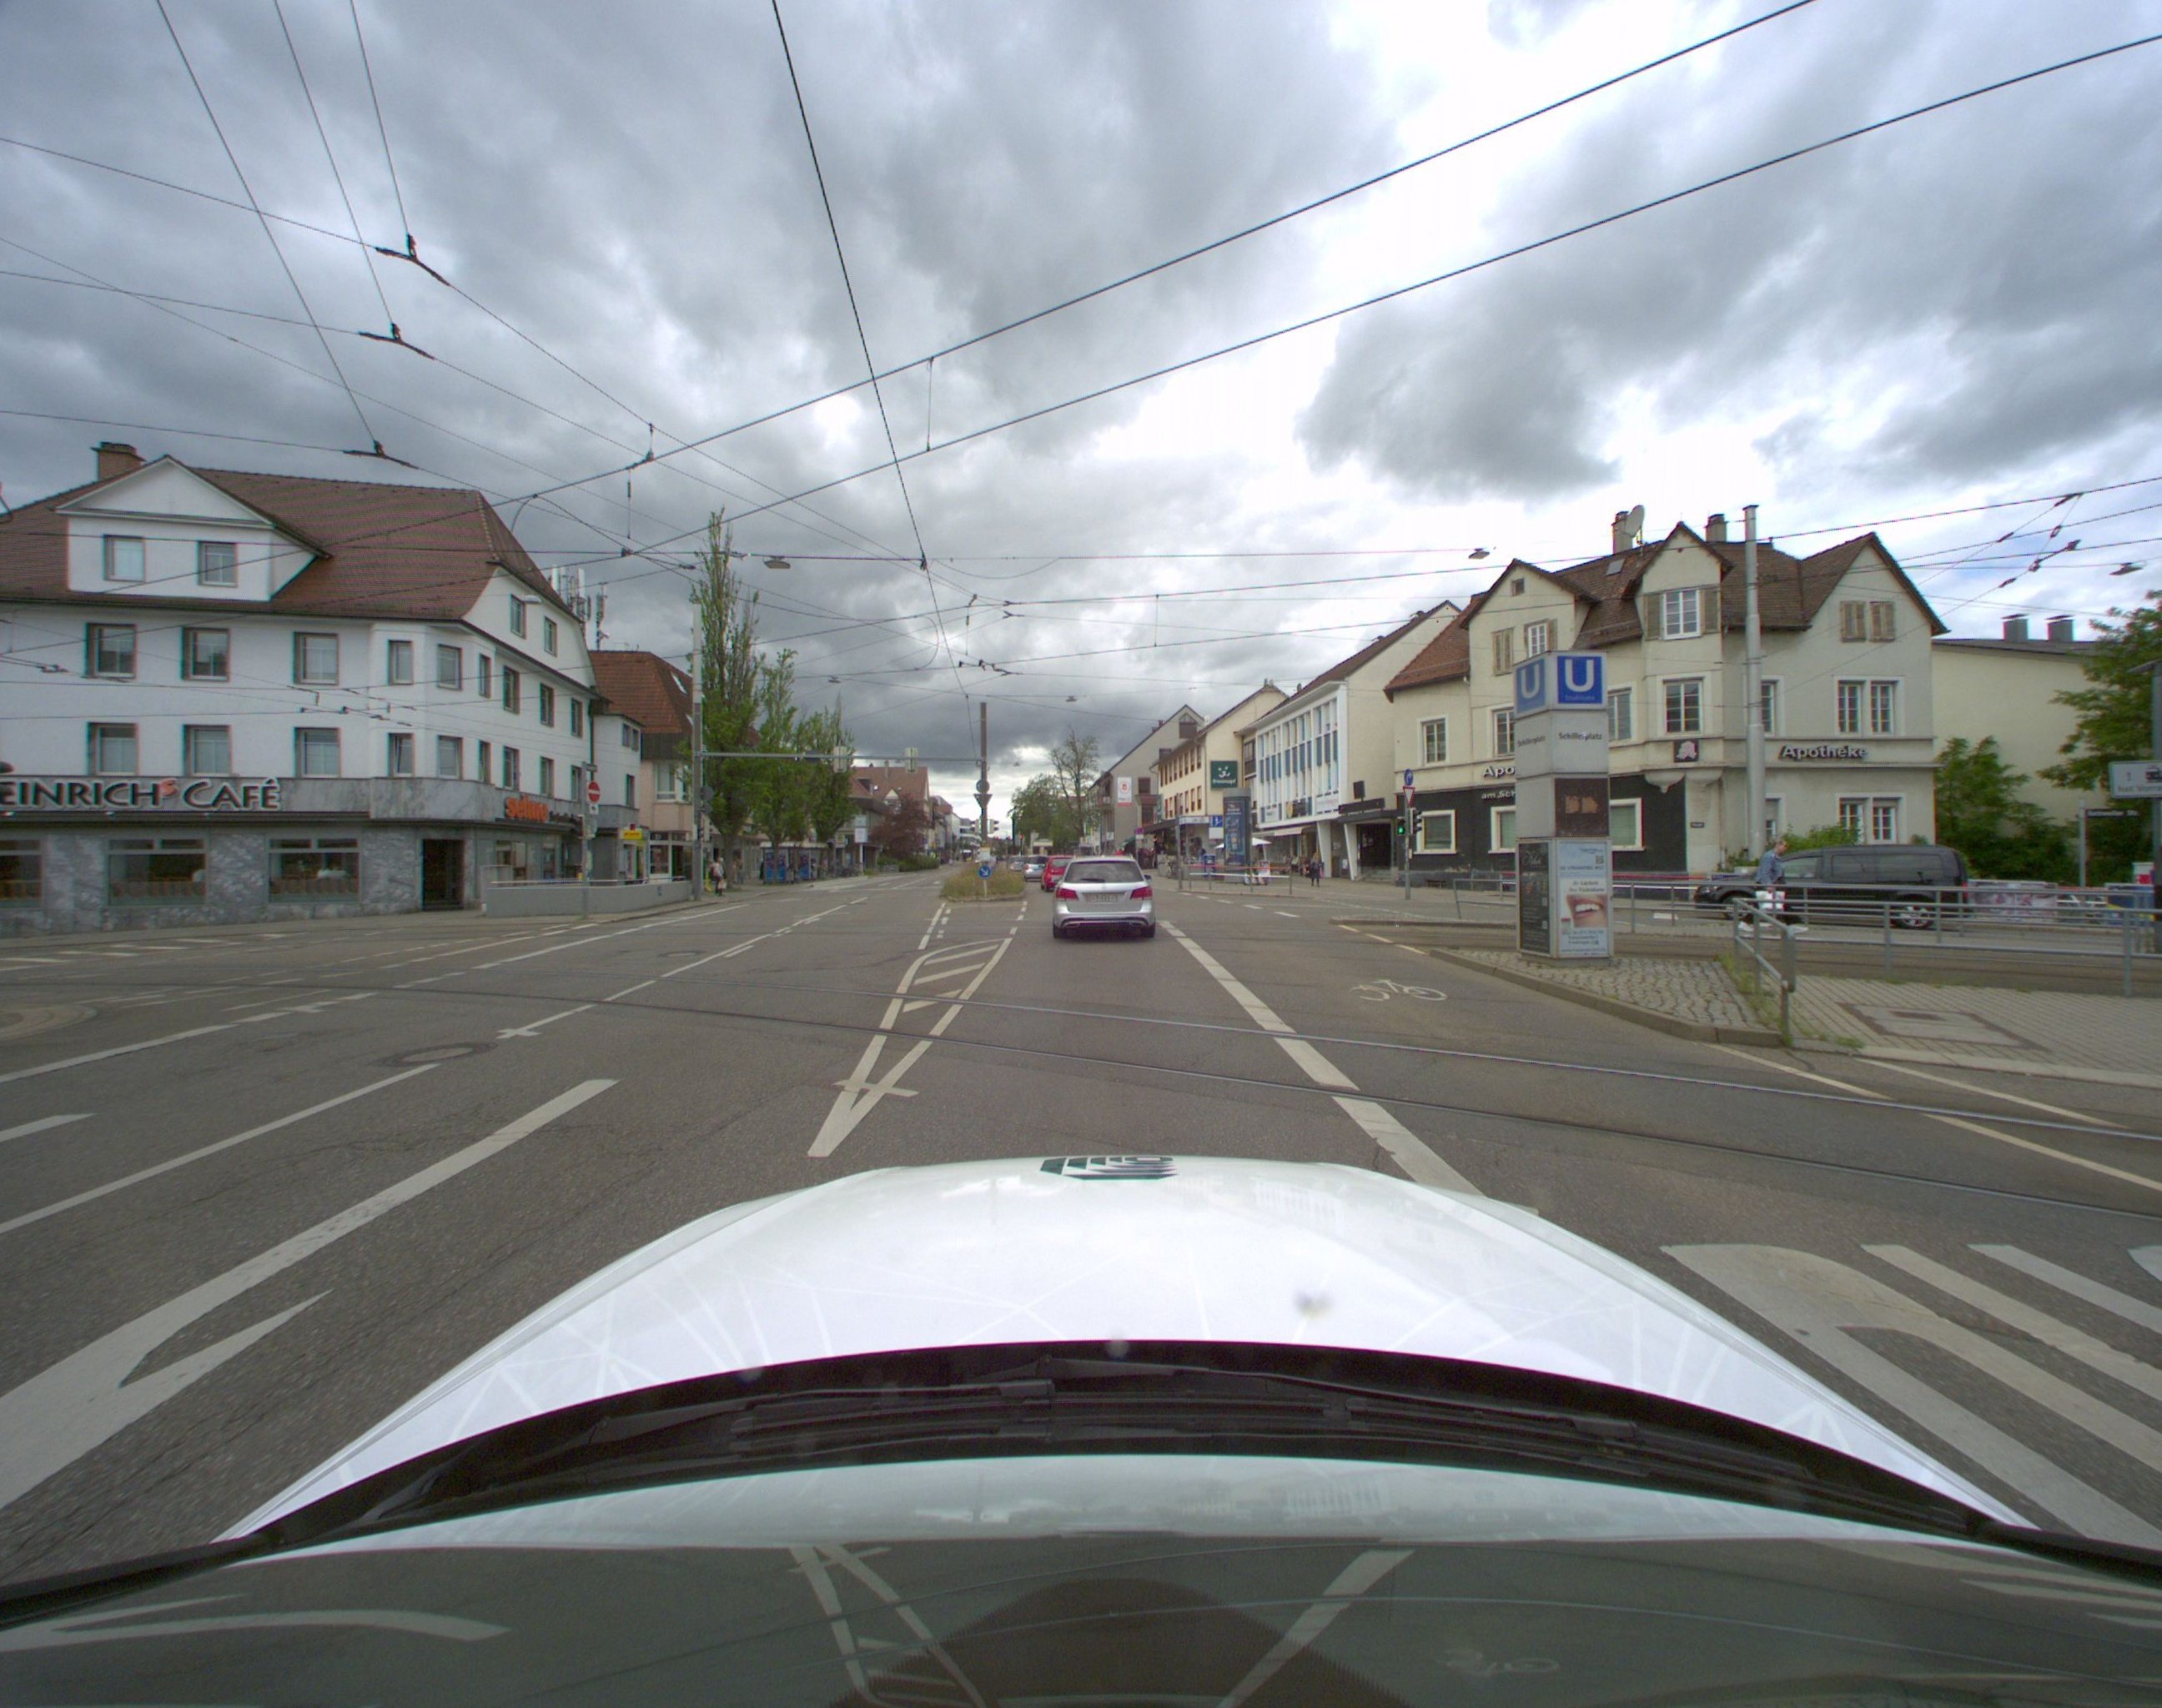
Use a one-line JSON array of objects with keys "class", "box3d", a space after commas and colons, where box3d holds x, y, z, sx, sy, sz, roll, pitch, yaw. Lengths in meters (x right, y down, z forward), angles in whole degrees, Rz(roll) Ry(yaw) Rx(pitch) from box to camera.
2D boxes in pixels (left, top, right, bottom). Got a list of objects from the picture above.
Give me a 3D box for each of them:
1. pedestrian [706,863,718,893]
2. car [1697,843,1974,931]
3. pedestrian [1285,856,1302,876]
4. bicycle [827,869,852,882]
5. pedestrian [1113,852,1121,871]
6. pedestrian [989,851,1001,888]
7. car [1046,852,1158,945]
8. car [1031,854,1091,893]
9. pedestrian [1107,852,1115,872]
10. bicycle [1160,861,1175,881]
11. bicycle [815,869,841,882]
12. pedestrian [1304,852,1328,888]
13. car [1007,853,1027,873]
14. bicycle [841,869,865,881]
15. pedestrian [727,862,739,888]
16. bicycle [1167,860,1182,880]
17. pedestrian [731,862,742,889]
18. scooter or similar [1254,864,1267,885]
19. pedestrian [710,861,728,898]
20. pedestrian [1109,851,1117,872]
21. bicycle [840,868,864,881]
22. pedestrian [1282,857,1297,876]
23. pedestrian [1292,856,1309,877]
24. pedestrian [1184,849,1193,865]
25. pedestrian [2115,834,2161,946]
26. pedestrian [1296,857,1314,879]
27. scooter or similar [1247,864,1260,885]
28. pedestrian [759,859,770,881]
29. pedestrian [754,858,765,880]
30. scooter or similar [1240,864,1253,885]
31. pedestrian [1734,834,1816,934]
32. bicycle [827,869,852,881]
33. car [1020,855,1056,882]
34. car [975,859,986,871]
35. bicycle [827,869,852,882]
[{"class": "pedestrian", "box3d": [-22.779, 1.490, 50.283, 0.644, 1.836, 0.576, -1, -1, -20]}, {"class": "car", "box3d": [17.485, 0.697, 19.268, 4.635, 1.821, 1.876, 0, 1, 37]}, {"class": "pedestrian", "box3d": [12.543, 0.721, 48.078, 0.736, 1.164, 0.641, 0, -1, -8]}, {"class": "bicycle", "box3d": [-19.505, 1.728, 65.757, 1.941, 1.029, 0.527, 0, -1, -16]}, {"class": "pedestrian", "box3d": [2.760, 0.571, 61.958, 0.576, 1.469, 0.651, 0, -1, -1]}, {"class": "pedestrian", "box3d": [-4.113, 0.726, 38.744, 0.533, 1.763, 0.578, -1, -1, -8]}, {"class": "car", "box3d": [0.468, 0.743, 15.647, 1.838, 1.508, 4.175, -1, 0, 3]}, {"class": "car", "box3d": [-0.889, 0.761, 33.708, 1.736, 1.508, 3.983, -1, 0, -13]}, {"class": "pedestrian", "box3d": [2.200, 0.582, 59.398, 0.576, 1.435, 0.651, 0, -1, 0]}, {"class": "bicycle", "box3d": [4.959, 0.950, 46.943, 0.447, 1.091, 2.145, -1, 0, -5]}, {"class": "bicycle", "box3d": [-20.163, 1.719, 64.946, 1.941, 1.029, 0.527, 0, -1, -16]}, {"class": "pedestrian", "box3d": [10.741, 0.731, 37.272, 0.644, 1.591, 0.890, 1, -1, -26]}, {"class": "car", "box3d": [-5.787, 0.799, 73.362, 1.731, 1.759, 3.994, -1, 0, -4]}, {"class": "bicycle", "box3d": [-19.287, 1.753, 68.802, 1.941, 1.029, 0.527, 0, -1, -16]}, {"class": "pedestrian", "box3d": [-21.899, 1.335, 51.269, 0.579, 1.606, 0.640, -1, -1, -19]}, {"class": "bicycle", "box3d": [5.405, 0.934, 46.990, 0.447, 1.107, 2.145, -1, 0, -5]}, {"class": "pedestrian", "box3d": [-20.766, 1.271, 49.096, 0.579, 1.606, 0.640, -1, -1, -19]}, {"class": "scooter or similar", "box3d": [8.857, 1.002, 40.142, 0.271, 1.001, 1.026, -1, 0, -9]}, {"class": "pedestrian", "box3d": [-15.696, 1.101, 35.330, 0.635, 1.606, 0.700, -1, -1, -19]}, {"class": "pedestrian", "box3d": [2.593, 0.624, 65.730, 0.576, 1.666, 0.651, 0, -1, 0]}, {"class": "bicycle", "box3d": [-19.582, 1.759, 69.748, 1.941, 1.029, 0.527, 0, -1, -16]}, {"class": "pedestrian", "box3d": [12.477, 0.740, 48.733, 0.736, 1.164, 0.641, 0, -1, -8]}, {"class": "pedestrian", "box3d": [12.250, 0.691, 45.469, 0.736, 1.164, 0.641, 0, -1, -8]}, {"class": "pedestrian", "box3d": [8.296, 0.249, 62.906, 0.533, 1.218, 0.578, 0, -1, -8]}, {"class": "pedestrian", "box3d": [17.074, 0.561, 12.804, 0.779, 1.718, 0.653, 1, 0, 25]}, {"class": "pedestrian", "box3d": [12.330, 0.773, 44.821, 0.736, 1.164, 0.641, 0, -1, -8]}, {"class": "scooter or similar", "box3d": [8.498, 1.000, 40.073, 0.271, 1.001, 1.026, -1, 0, -9]}, {"class": "pedestrian", "box3d": [-22.645, 1.142, 58.242, 0.706, 1.606, 0.575, -1, -1, -27]}, {"class": "pedestrian", "box3d": [-24.199, 1.119, 61.209, 0.706, 1.606, 0.575, -1, -1, -27]}, {"class": "scooter or similar", "box3d": [8.139, 1.004, 39.996, 0.271, 1.001, 1.026, -1, 0, -9]}, {"class": "pedestrian", "box3d": [12.369, 0.512, 14.528, 0.840, 1.718, 0.725, -1, 0, -9]}, {"class": "bicycle", "box3d": [-19.889, 1.736, 66.973, 1.941, 1.029, 0.527, 0, -1, -16]}, {"class": "car", "box3d": [-2.558, 0.819, 47.705, 1.733, 1.508, 3.989, -1, 0, -8]}, {"class": "car", "box3d": [-18.150, 1.992, 146.612, 1.992, 2.013, 3.990, 0, 0, -7]}, {"class": "bicycle", "box3d": [-19.704, 1.732, 66.397, 1.941, 1.029, 0.527, 0, -1, -16]}]
